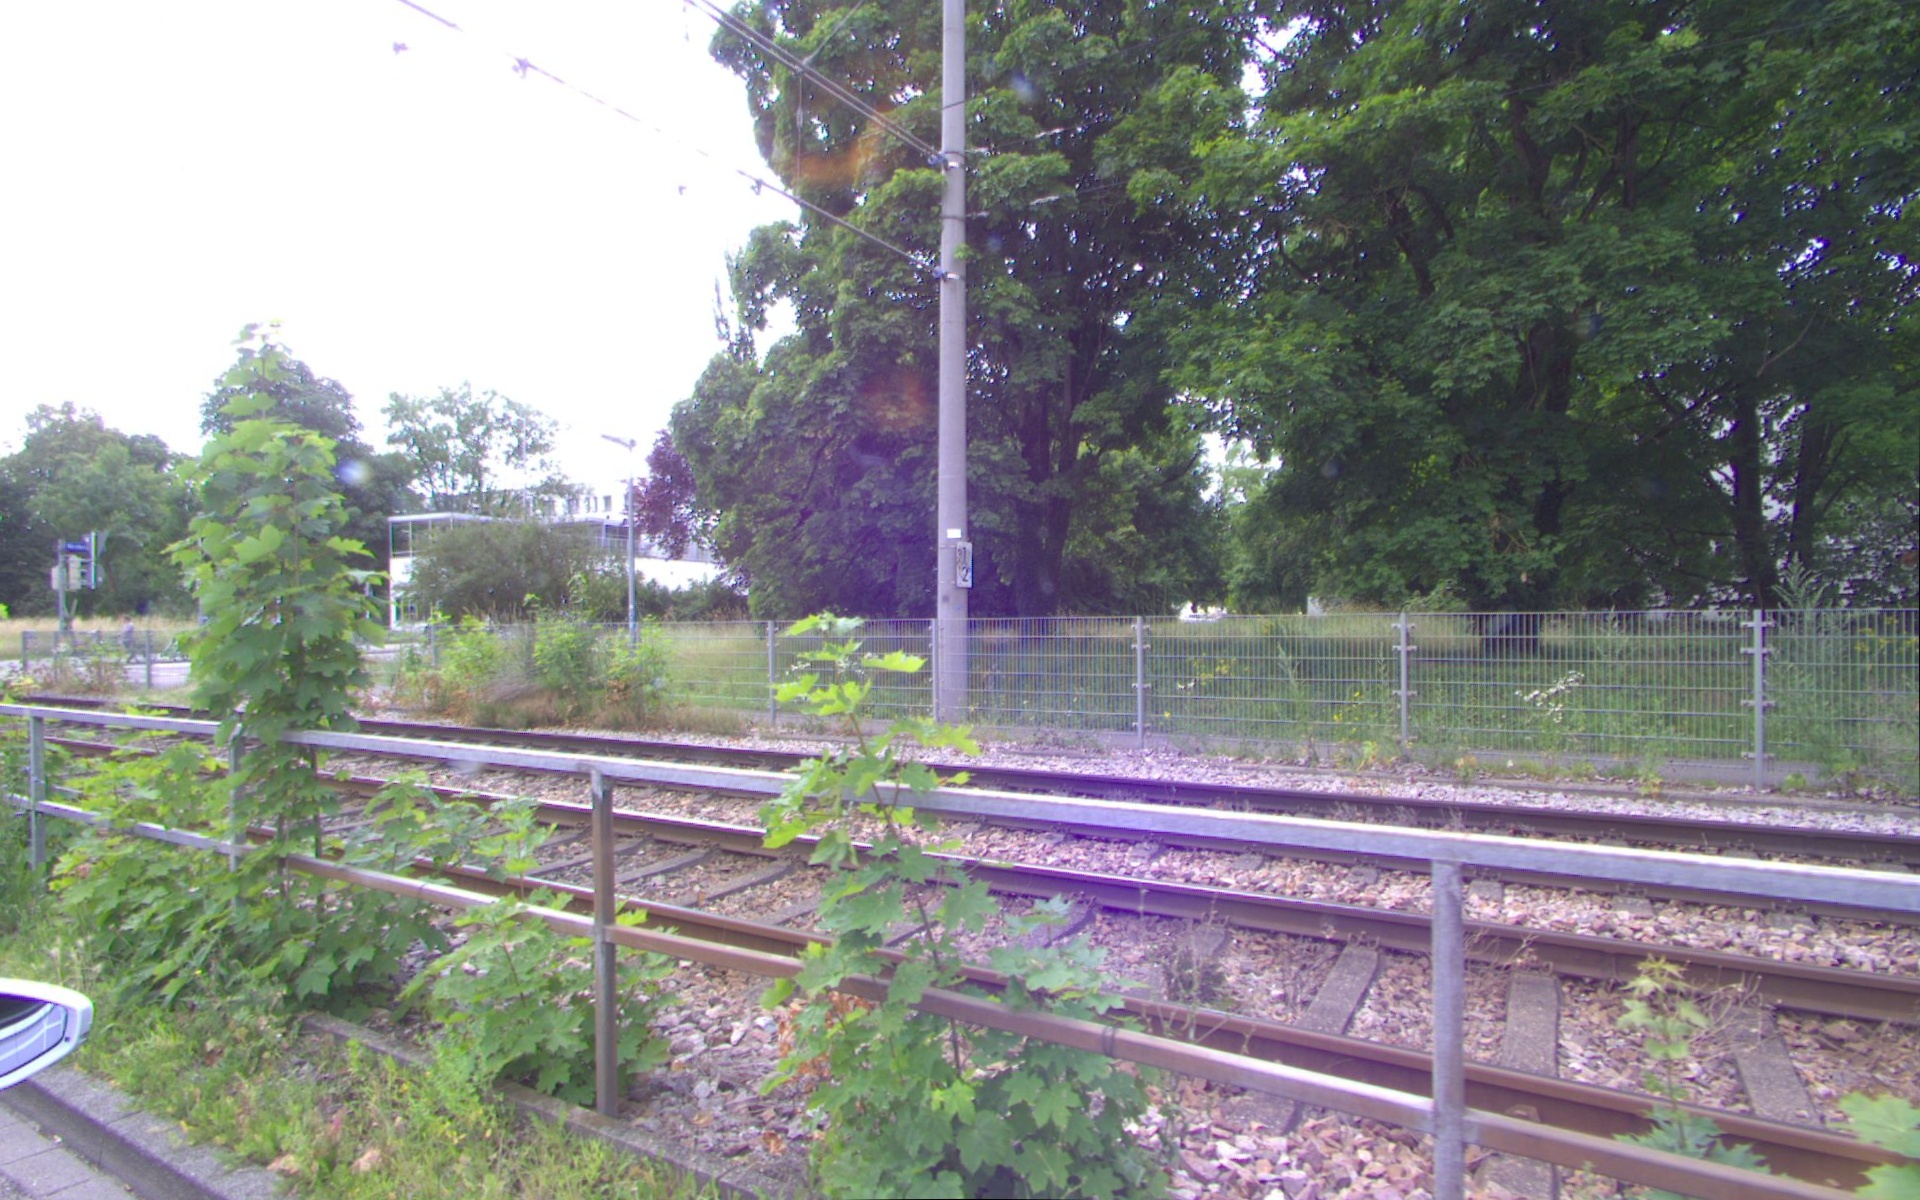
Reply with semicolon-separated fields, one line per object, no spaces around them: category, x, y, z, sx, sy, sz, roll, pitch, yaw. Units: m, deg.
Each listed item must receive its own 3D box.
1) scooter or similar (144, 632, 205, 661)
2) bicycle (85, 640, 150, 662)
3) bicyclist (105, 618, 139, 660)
scooter or similar;-29.585;1.737;37.729;0.949;0.992;1.570;-1;0;34
bicycle;-30.561;1.845;36.354;0.548;0.775;1.718;-1;-2;34
bicyclist;-30.504;1.421;36.462;0.449;1.495;0.837;-1;0;34
